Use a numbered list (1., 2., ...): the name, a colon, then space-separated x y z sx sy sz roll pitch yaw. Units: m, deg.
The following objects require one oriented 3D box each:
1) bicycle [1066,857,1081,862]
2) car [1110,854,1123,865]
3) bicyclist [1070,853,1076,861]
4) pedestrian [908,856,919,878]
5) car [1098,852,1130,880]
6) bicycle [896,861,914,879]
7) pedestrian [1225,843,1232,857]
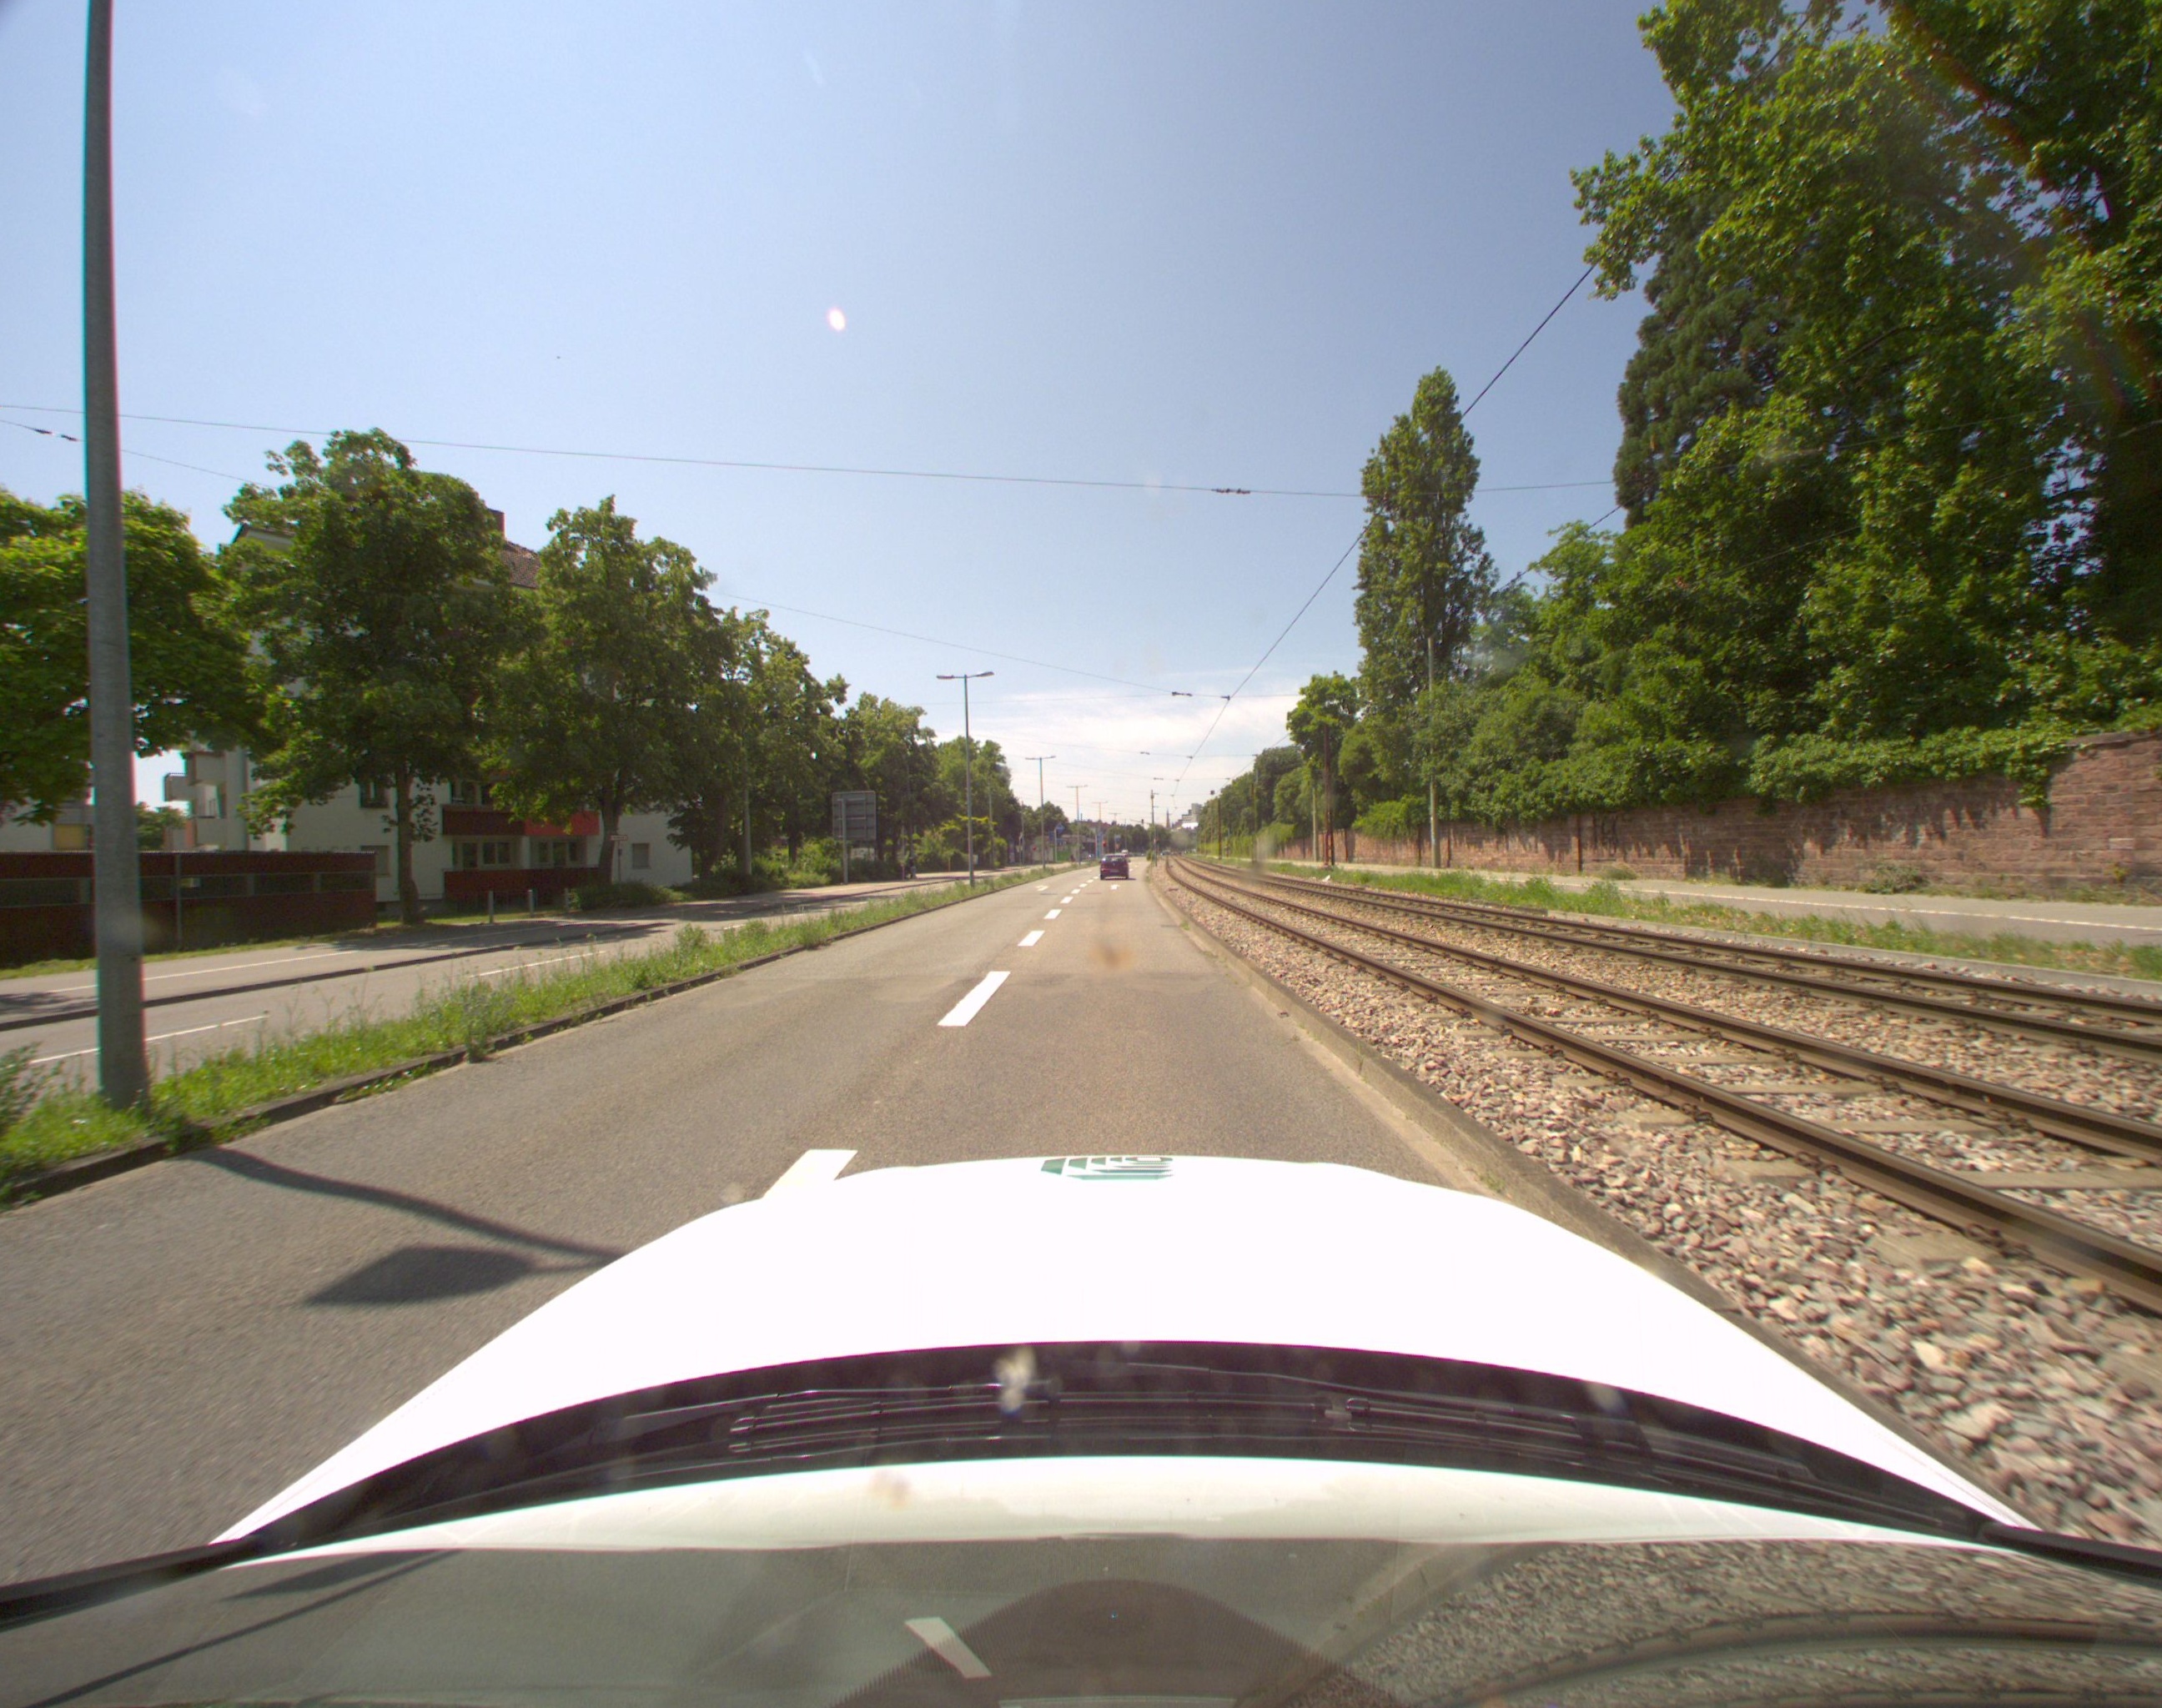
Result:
1. bicycle: -1.394 1.023 149.614 2.550 1.038 1.084 0 -1 -11
2. car: 4.953 0.778 113.331 1.697 1.480 3.717 1 0 1
3. bicyclist: -1.449 0.572 149.642 0.944 1.593 1.084 0 -1 -10
4. pedestrian: -12.968 1.012 62.954 0.545 1.718 0.606 -2 0 18
5. car: 1.946 0.697 47.295 1.695 1.477 3.720 -2 -1 4
6. bicycle: -13.601 1.200 62.950 0.640 1.327 1.580 -2 0 18
7. pedestrian: 17.946 -0.489 99.112 0.658 1.726 0.817 -2 0 4
